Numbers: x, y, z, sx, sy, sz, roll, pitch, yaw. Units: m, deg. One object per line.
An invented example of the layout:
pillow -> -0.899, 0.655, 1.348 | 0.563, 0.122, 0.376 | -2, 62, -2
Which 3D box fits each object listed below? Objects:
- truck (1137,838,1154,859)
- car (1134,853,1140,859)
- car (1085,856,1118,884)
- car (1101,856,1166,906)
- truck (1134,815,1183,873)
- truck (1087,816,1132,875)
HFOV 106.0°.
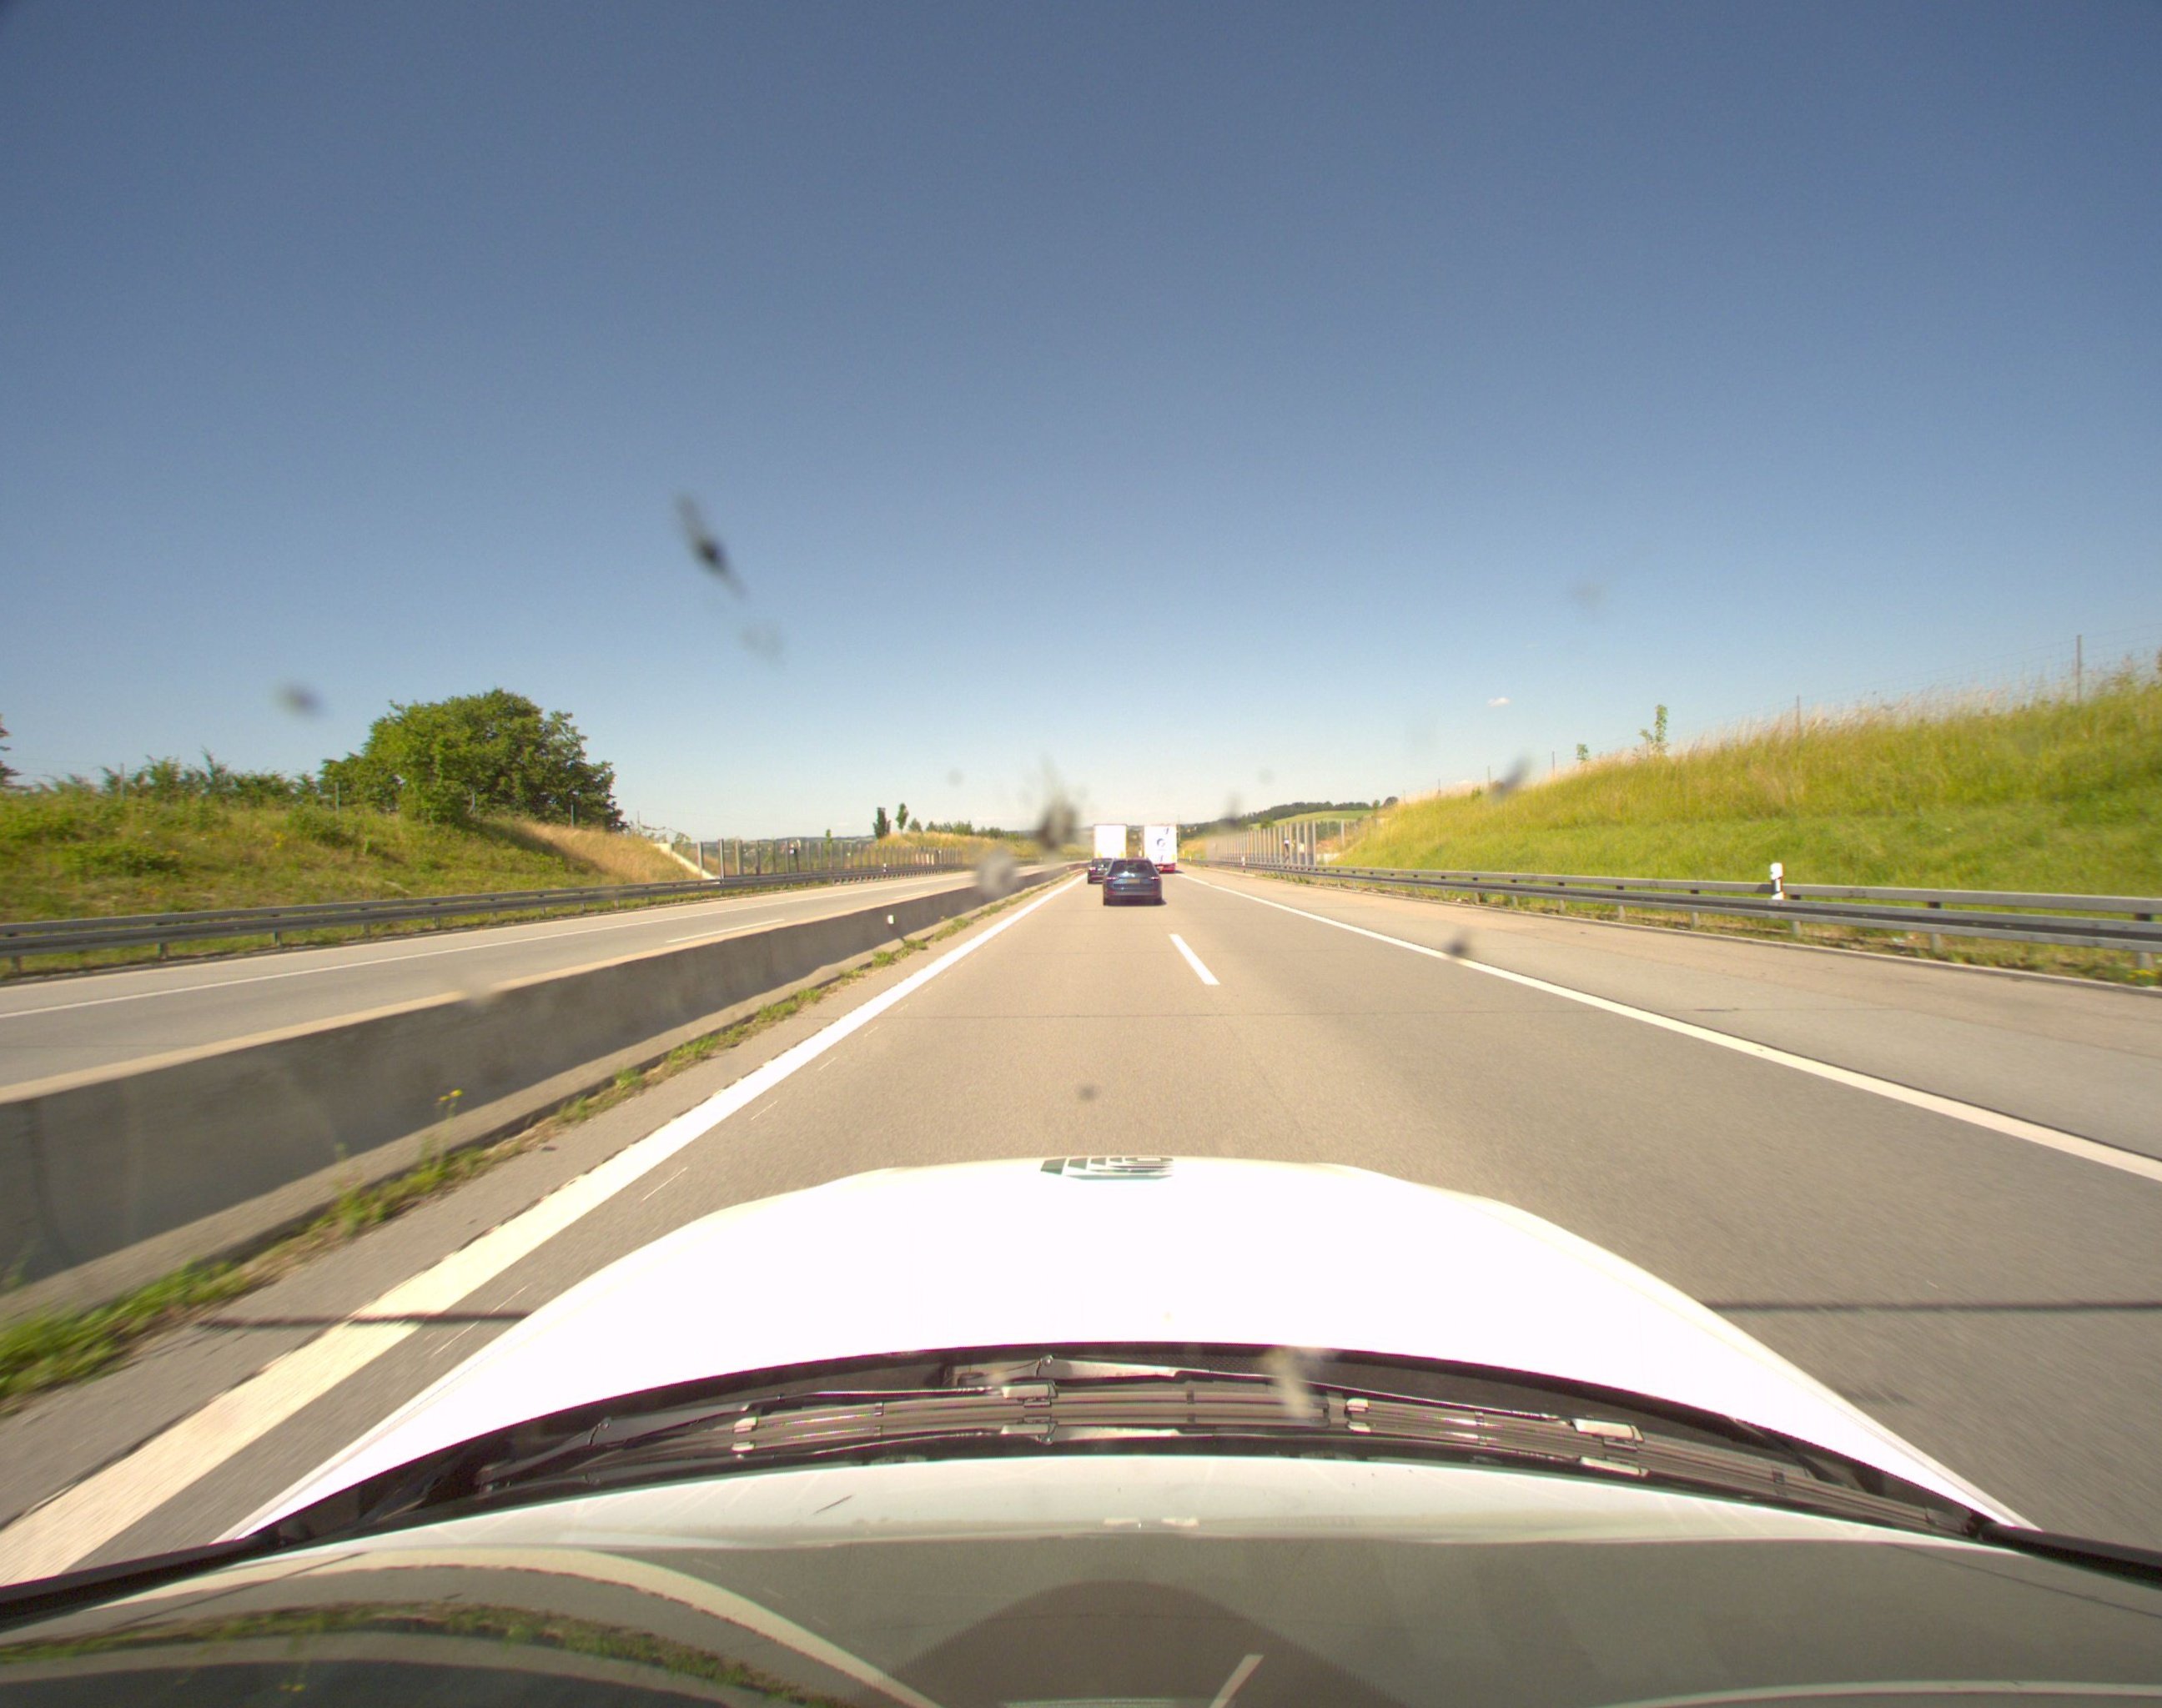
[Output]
truck -> 14.708, -1.174, 186.671 | 3.589, 4.381, 11.244 | -4, 0, 4
car -> 15.532, 0.579, 226.528 | 1.693, 1.441, 4.002 | -1, 0, 2
car -> 1.098, 0.865, 45.900 | 1.694, 1.441, 3.999 | -4, 0, 0
car -> 1.565, 0.784, 25.482 | 1.771, 1.441, 3.788 | -1, 0, 0
truck -> 6.557, -0.801, 70.595 | 3.589, 4.381, 11.244 | -4, 0, 4
truck -> 2.607, -0.673, 69.514 | 3.196, 4.381, 11.245 | -4, 0, 4
